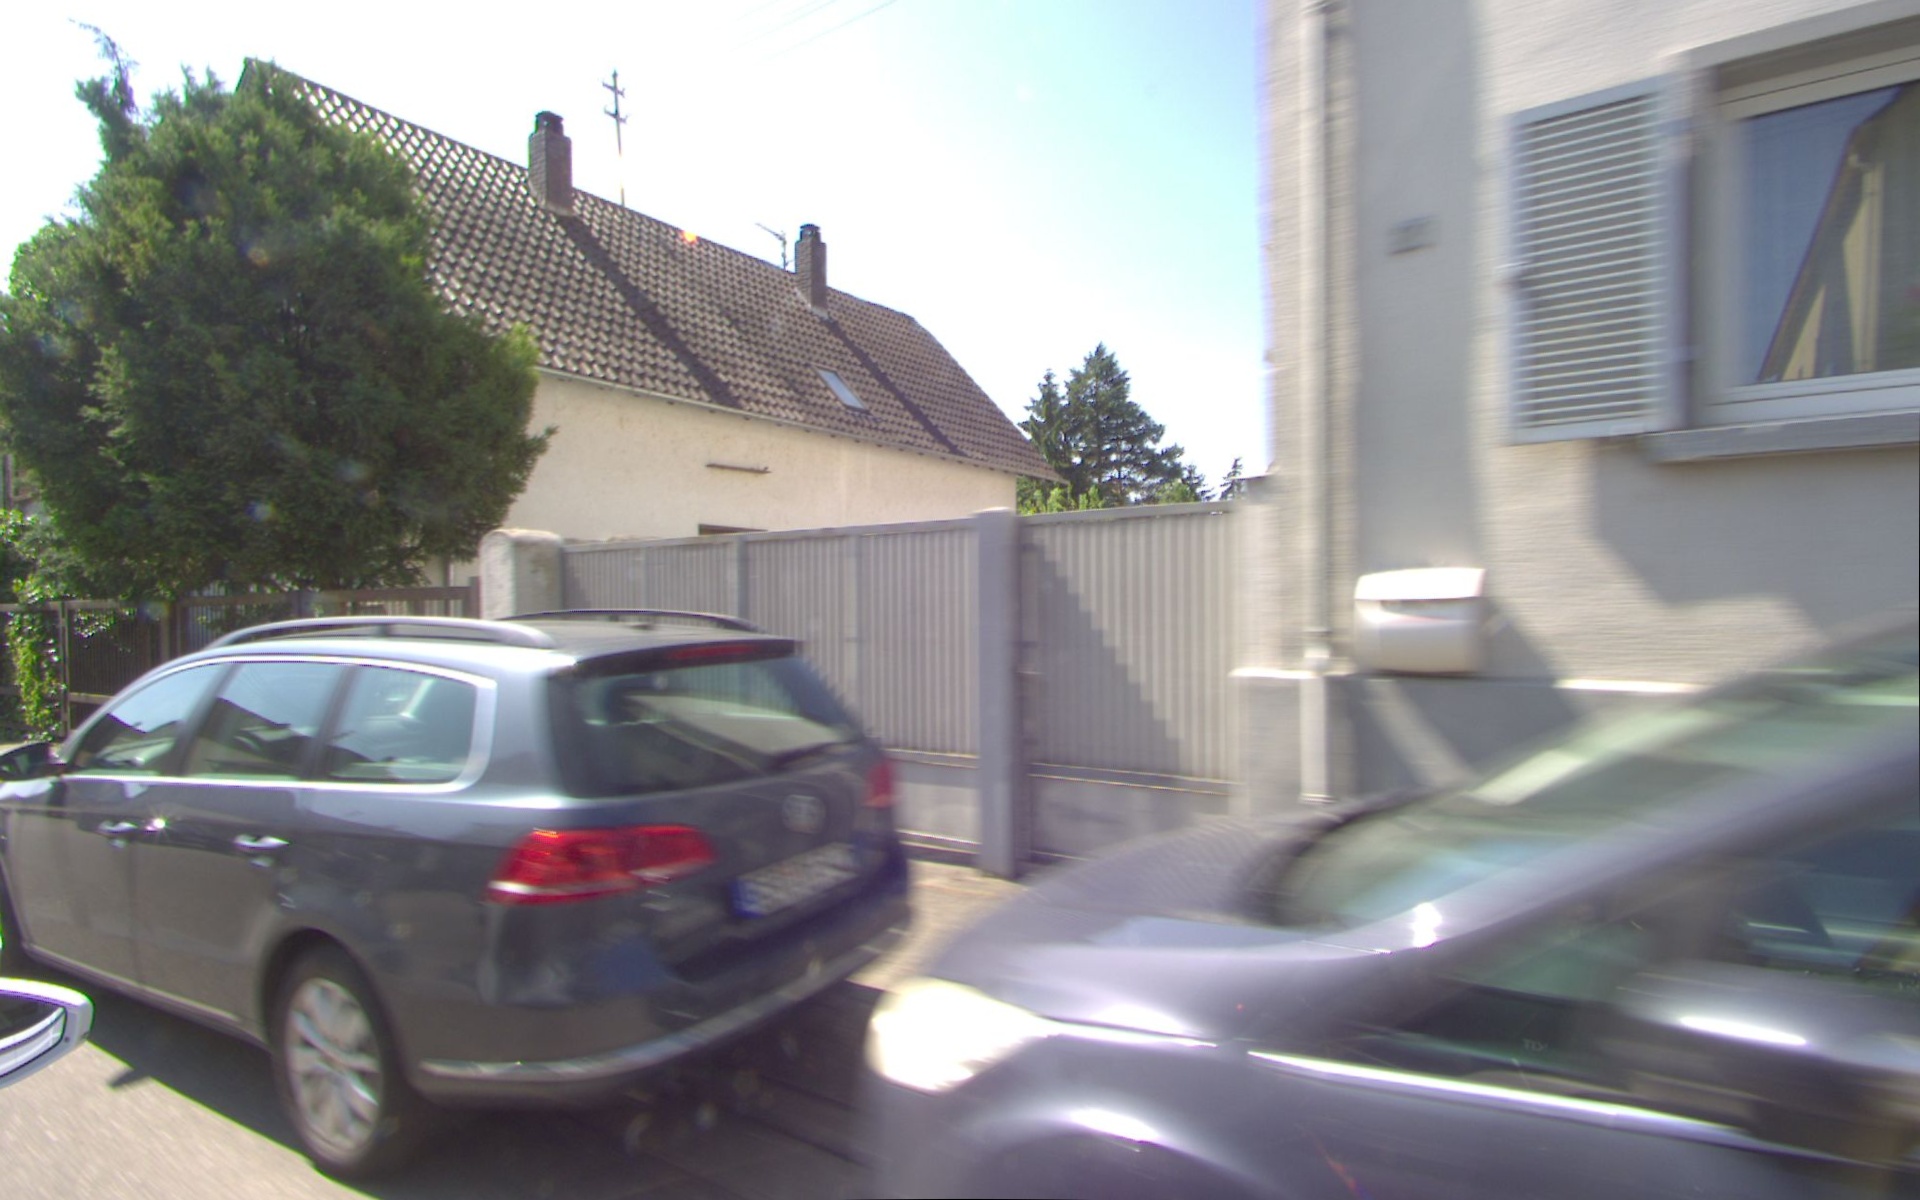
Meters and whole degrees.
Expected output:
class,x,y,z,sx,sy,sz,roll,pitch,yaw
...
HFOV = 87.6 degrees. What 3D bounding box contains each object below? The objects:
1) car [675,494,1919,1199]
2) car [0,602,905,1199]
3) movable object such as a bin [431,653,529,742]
class,x,y,z,sx,sy,sz,roll,pitch,yaw
car,1.884,0.693,1.234,4.568,1.580,1.793,-1,0,34
car,-2.598,0.809,4.276,4.516,1.528,1.816,-1,0,32
movable object such as a bin,-5.727,1.144,11.978,0.561,0.962,0.880,0,1,31
